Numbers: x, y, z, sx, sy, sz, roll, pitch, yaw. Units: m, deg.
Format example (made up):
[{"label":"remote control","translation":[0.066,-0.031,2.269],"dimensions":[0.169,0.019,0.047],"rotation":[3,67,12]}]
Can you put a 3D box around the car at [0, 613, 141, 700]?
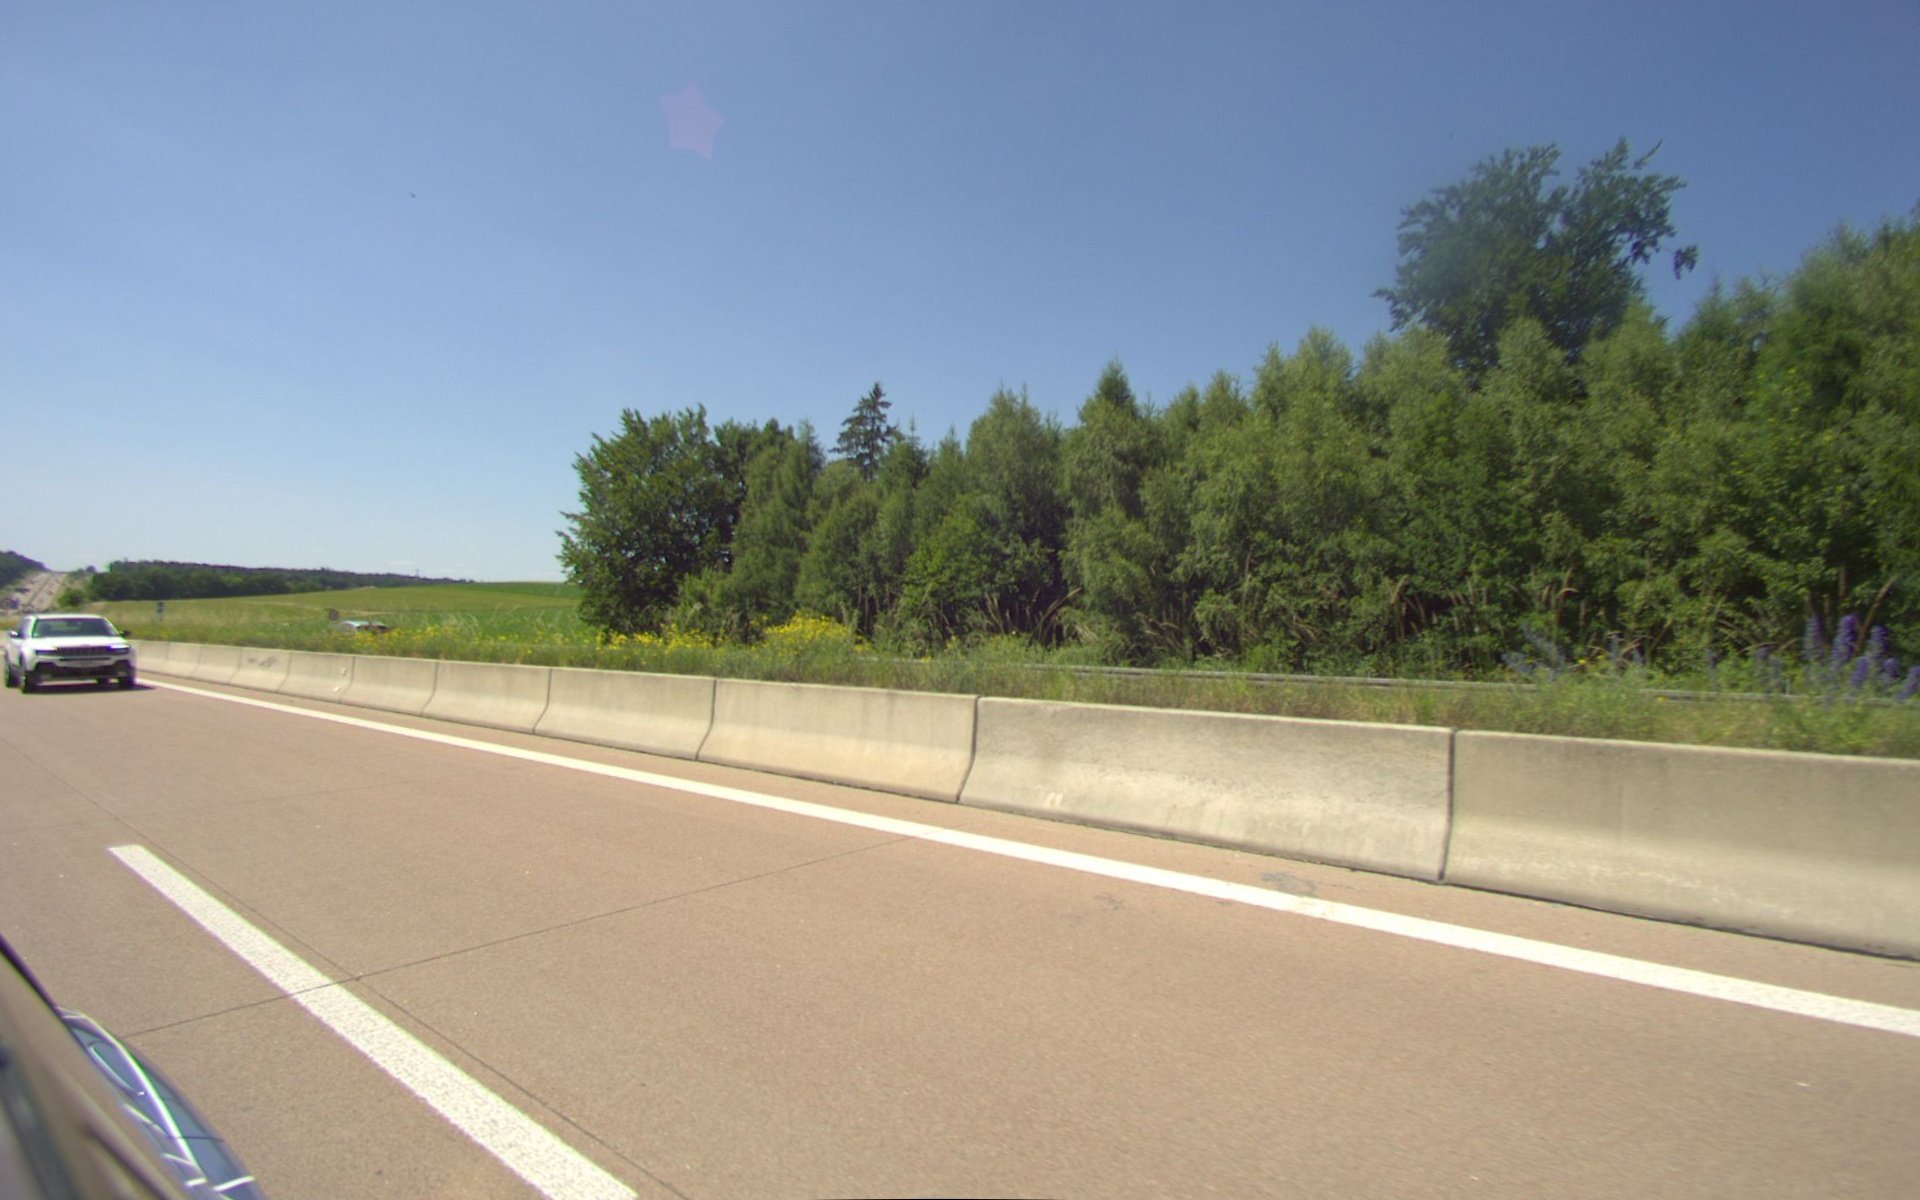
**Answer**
[{"label":"car","translation":[-18.821,1.098,21.179],"dimensions":[4.832,1.619,1.859],"rotation":[-1,-1,42]}]

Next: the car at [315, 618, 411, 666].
[{"label":"car","translation":[-25.327,1.730,42.852],"dimensions":[5.098,1.877,1.872],"rotation":[-1,-1,39]}]
